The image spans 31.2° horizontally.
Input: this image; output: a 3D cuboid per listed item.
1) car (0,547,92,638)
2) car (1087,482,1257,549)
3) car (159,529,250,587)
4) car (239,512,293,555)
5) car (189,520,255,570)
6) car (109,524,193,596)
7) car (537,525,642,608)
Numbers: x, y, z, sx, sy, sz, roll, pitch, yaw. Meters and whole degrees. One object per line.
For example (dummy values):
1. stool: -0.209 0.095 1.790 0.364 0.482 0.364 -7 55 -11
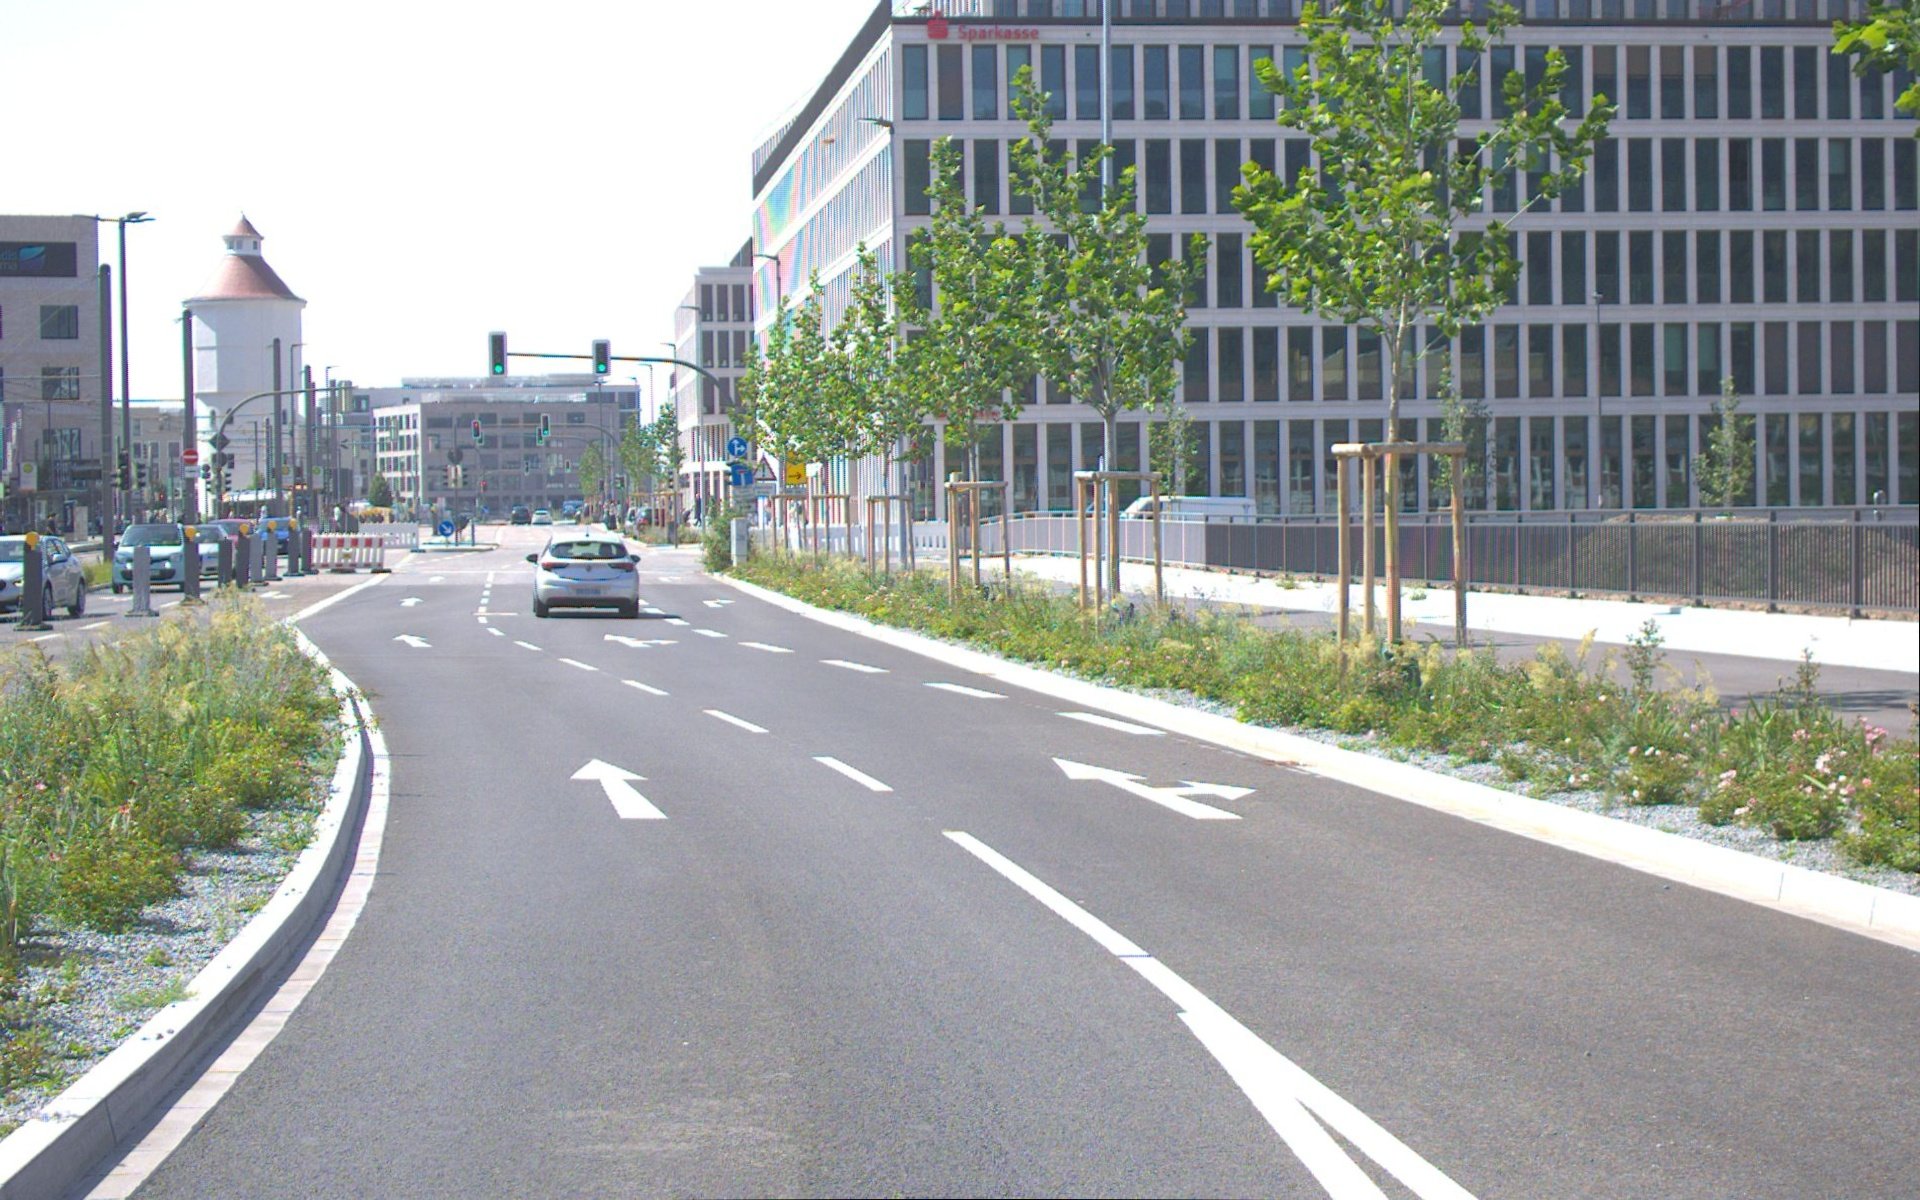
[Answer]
1. car: -16.162 -0.136 59.168 1.673 1.438 4.470 -3 2 -6
2. car: 7.737 -3.106 125.677 5.835 2.262 2.147 1 2 -7
3. car: -19.627 -1.106 89.437 1.580 1.411 4.297 -1 2 -3
4. car: -24.317 -2.337 120.565 1.628 1.422 4.291 -2 2 -9
5. car: -21.782 -1.651 101.588 1.579 1.411 4.000 -2 2 -8
6. car: -18.342 -0.916 78.067 1.579 1.525 3.622 -3 2 -10
7. car: -6.513 -0.591 60.692 1.771 1.390 3.532 1 1 -5
